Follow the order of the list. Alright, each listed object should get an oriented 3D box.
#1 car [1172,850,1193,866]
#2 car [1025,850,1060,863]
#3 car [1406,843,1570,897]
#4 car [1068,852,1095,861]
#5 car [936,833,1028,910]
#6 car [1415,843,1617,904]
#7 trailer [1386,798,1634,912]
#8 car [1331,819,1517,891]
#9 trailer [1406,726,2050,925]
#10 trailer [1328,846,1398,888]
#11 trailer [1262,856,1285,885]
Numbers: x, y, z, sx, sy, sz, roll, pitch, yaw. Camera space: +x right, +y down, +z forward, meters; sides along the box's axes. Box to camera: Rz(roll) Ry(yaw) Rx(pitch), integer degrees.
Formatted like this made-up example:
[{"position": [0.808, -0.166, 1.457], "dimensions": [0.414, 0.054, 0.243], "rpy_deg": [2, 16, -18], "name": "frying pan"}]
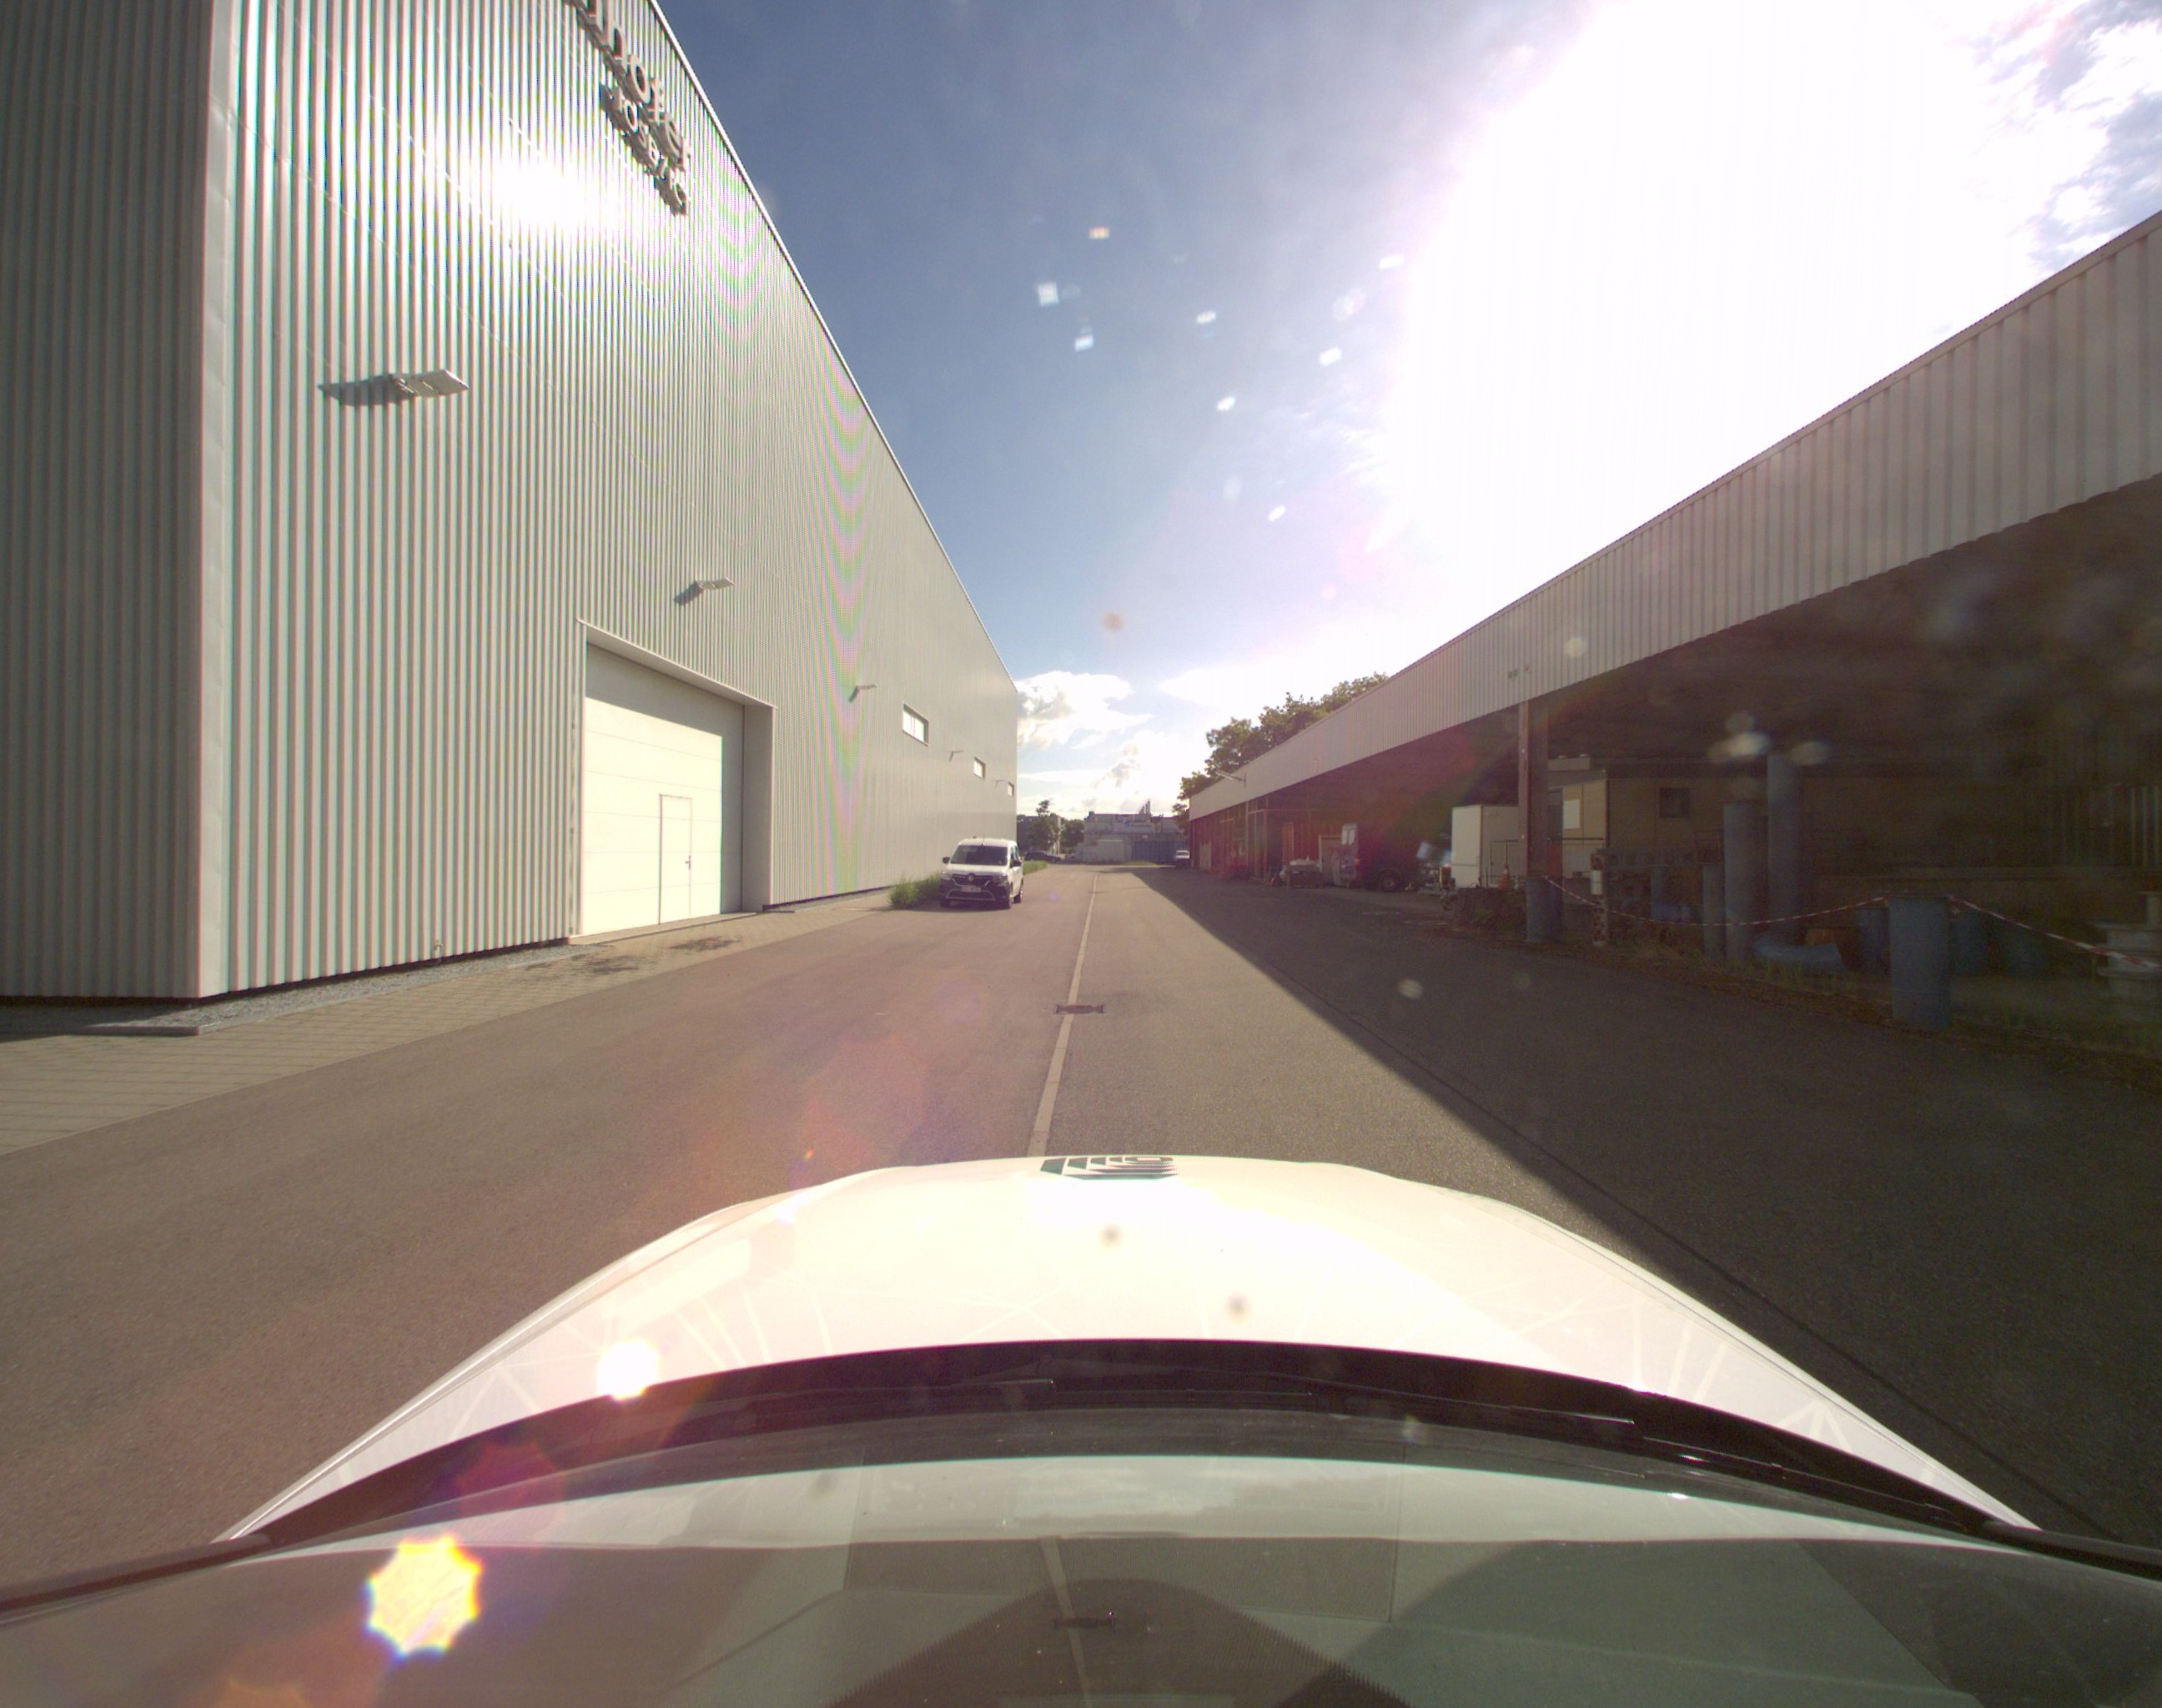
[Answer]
[{"position": [11.401, 0.405, 91.525], "dimensions": [1.971, 1.602, 4.381], "rpy_deg": [-1, 1, 3], "name": "car"}, {"position": [-4.896, 0.340, 104.214], "dimensions": [4.432, 1.531, 1.824], "rpy_deg": [-1, 0, 0], "name": "car"}, {"position": [11.943, 0.449, 24.047], "dimensions": [3.953, 1.514, 1.839], "rpy_deg": [0, -1, -2], "name": "car"}, {"position": [0.031, 0.411, 132.050], "dimensions": [4.288, 1.457, 1.824], "rpy_deg": [-1, 0, 0], "name": "car"}, {"position": [-2.565, 0.443, 22.200], "dimensions": [1.777, 1.816, 4.602], "rpy_deg": [2, 0, 1], "name": "car"}, {"position": [11.097, 0.473, 20.973], "dimensions": [4.237, 1.471, 1.869], "rpy_deg": [0, 0, -2], "name": "car"}, {"position": [9.553, 0.036, 18.438], "dimensions": [4.498, 2.342, 2.048], "rpy_deg": [-1, -1, 2], "name": "trailer"}, {"position": [11.344, 0.052, 27.212], "dimensions": [5.314, 2.281, 2.153], "rpy_deg": [0, -1, 0], "name": "car"}, {"position": [12.044, -0.503, 15.907], "dimensions": [10.230, 3.343, 2.802], "rpy_deg": [-1, 0, 1], "name": "trailer"}, {"position": [10.295, 0.452, 29.839], "dimensions": [2.028, 1.466, 1.741], "rpy_deg": [-1, 0, 5], "name": "trailer"}, {"position": [7.797, 0.656, 32.984], "dimensions": [0.550, 1.118, 1.546], "rpy_deg": [-1, 0, 0], "name": "trailer"}]
